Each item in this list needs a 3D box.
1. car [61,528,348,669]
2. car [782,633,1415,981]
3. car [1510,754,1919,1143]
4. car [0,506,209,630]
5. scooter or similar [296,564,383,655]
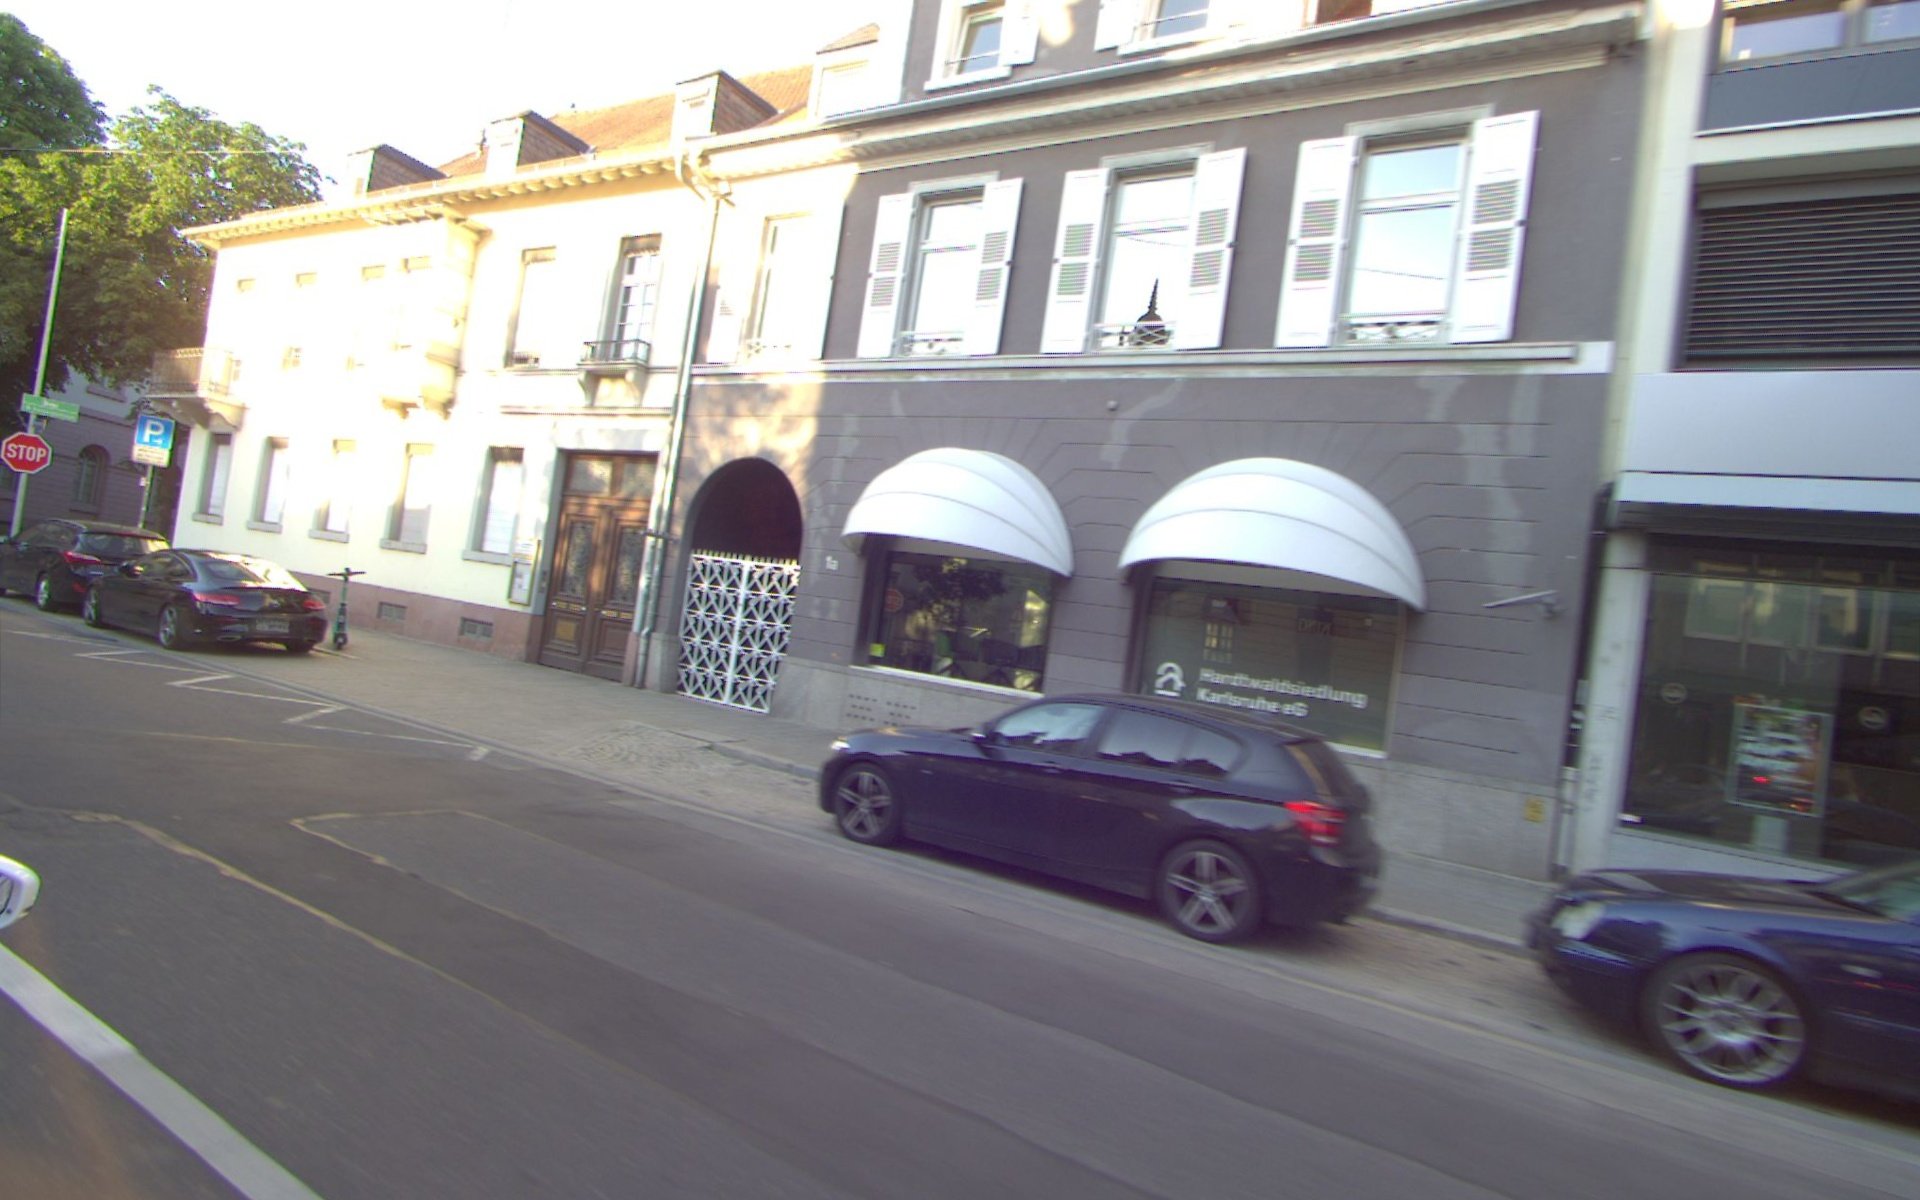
[{"bbox_3d":[-11.359,-0.060,15.017,4.779,1.409,1.777,7,-3,33],"label":"car"},{"bbox_3d":[0.921,1.294,7.474,4.179,1.463,1.747,7,-3,32],"label":"car"},{"bbox_3d":[5.273,1.859,4.876,4.425,1.402,1.747,7,-3,31],"label":"car"},{"bbox_3d":[-15.240,-0.602,17.566,4.357,1.558,1.806,7,-3,32],"label":"car"},{"bbox_3d":[-9.749,0.136,15.779,1.745,1.248,0.601,6,1,42],"label":"scooter or similar"}]
